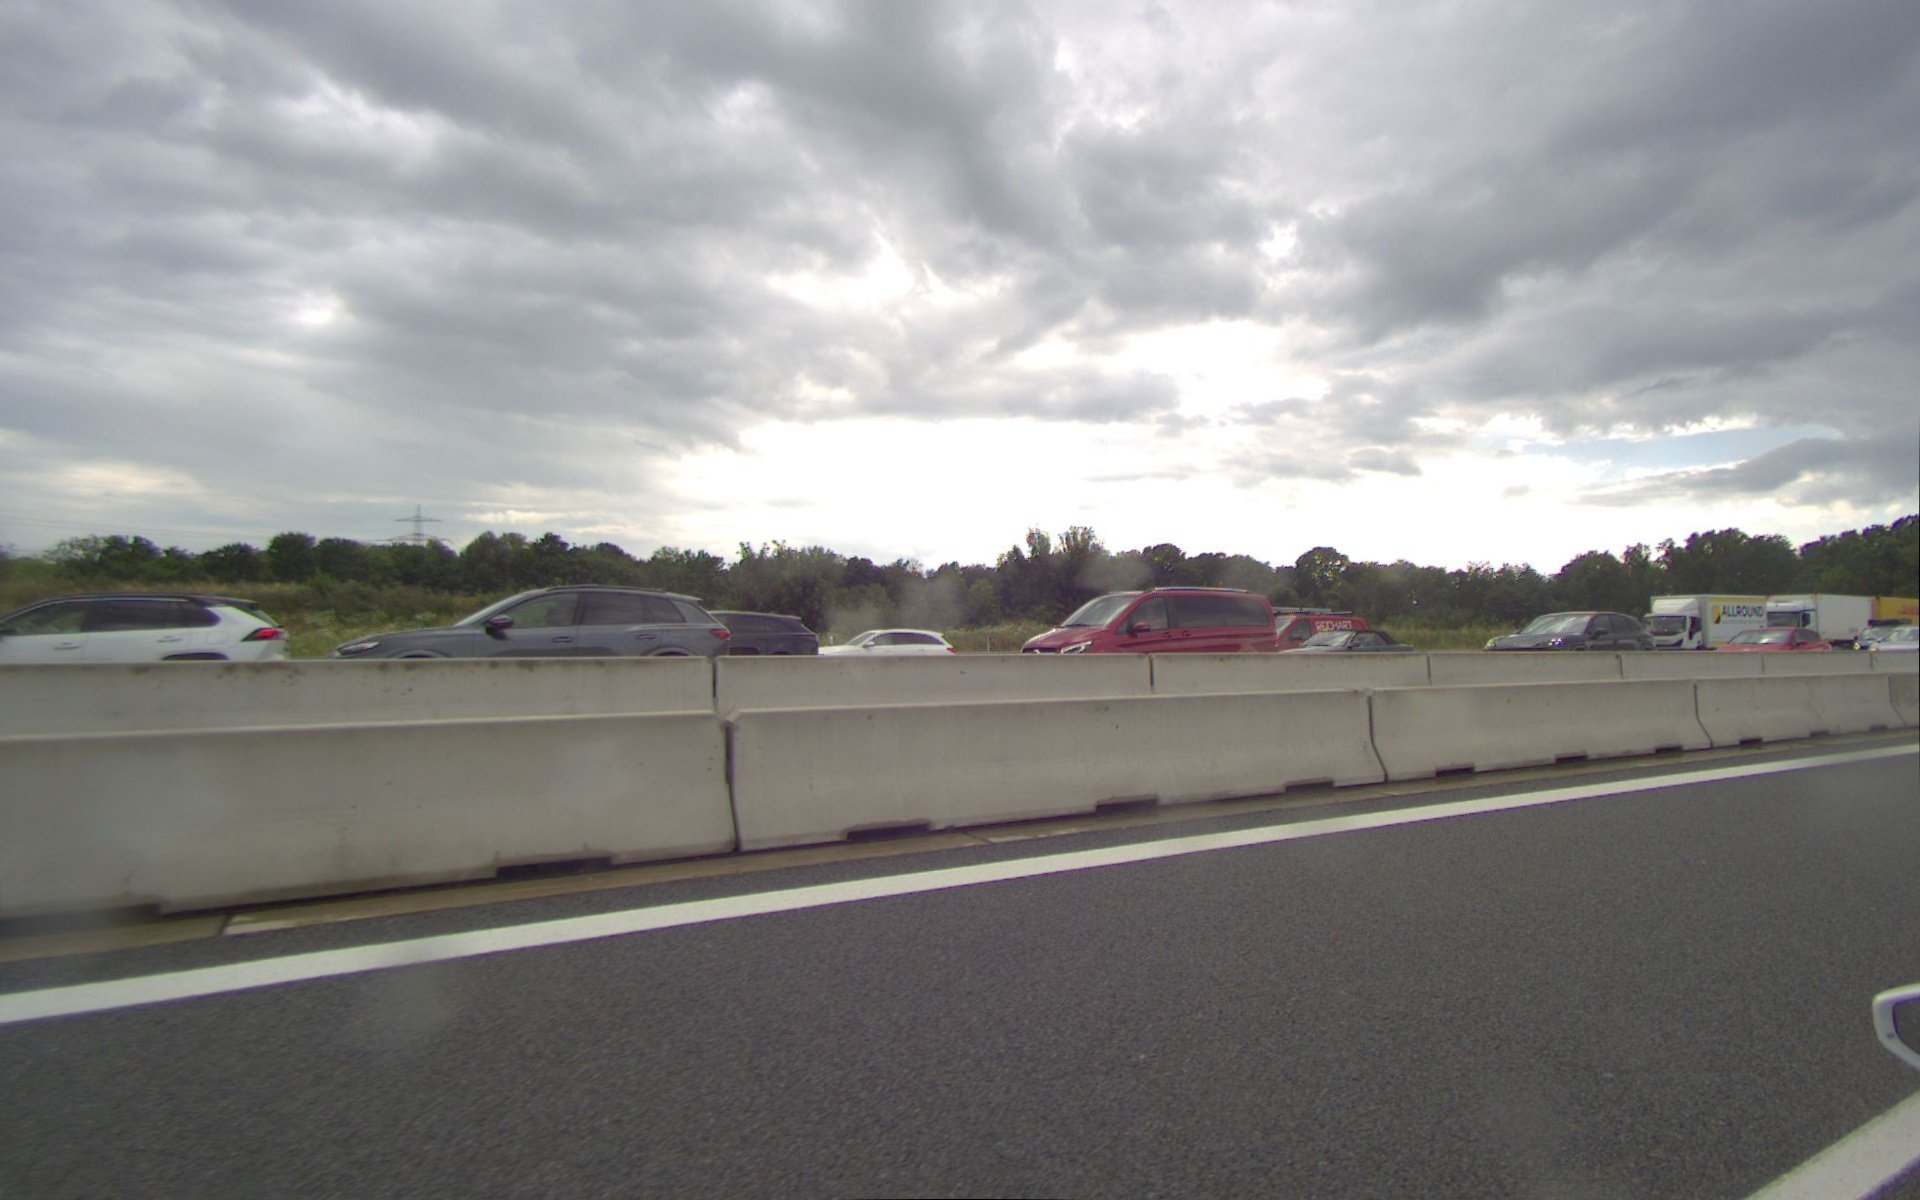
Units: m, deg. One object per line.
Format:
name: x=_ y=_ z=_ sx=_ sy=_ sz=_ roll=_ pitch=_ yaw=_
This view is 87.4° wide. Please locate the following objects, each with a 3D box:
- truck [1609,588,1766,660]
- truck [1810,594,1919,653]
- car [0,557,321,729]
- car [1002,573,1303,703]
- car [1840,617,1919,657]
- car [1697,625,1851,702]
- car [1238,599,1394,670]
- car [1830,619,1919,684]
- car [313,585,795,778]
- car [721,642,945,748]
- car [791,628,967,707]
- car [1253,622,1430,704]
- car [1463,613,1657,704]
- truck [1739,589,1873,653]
truck: x=36.400 y=1.212 z=50.152 sx=9.092 sy=3.334 sz=2.896 roll=1 pitch=0 yaw=-30
truck: x=59.698 y=1.535 z=65.884 sx=9.464 sy=3.660 sz=2.865 roll=1 pitch=0 yaw=-29
car: x=-11.302 y=0.519 z=13.055 sx=4.914 sy=2.040 sz=1.984 roll=1 pitch=0 yaw=-30
car: x=3.547 y=0.652 z=18.088 sx=5.355 sy=2.040 sz=1.984 roll=1 pitch=0 yaw=-30
car: x=49.317 y=1.952 z=53.682 sx=5.287 sy=2.040 sz=1.983 roll=1 pitch=0 yaw=-32
car: x=23.738 y=1.783 z=29.263 sx=4.632 sy=2.040 sz=1.984 roll=1 pitch=0 yaw=-30
car: x=10.906 y=1.025 z=30.687 sx=4.632 sy=2.040 sz=1.984 roll=1 pitch=0 yaw=-30
car: x=31.779 y=1.724 z=34.176 sx=4.372 sy=2.040 sz=1.984 roll=1 pitch=0 yaw=-30
car: x=-4.999 y=0.912 z=12.846 sx=5.355 sy=2.040 sz=1.984 roll=1 pitch=0 yaw=-30
car: x=-2.753 y=1.974 z=22.038 sx=4.446 sy=2.040 sz=1.984 roll=1 pitch=0 yaw=-30
car: x=-2.285 y=1.867 z=28.774 sx=4.632 sy=2.040 sz=1.984 roll=1 pitch=0 yaw=-30
car: x=9.968 y=1.584 z=26.157 sx=4.422 sy=1.925 sz=1.984 roll=1 pitch=0 yaw=-30
car: x=14.105 y=1.314 z=23.558 sx=4.450 sy=1.929 sz=1.984 roll=1 pitch=0 yaw=-30
truck: x=51.865 y=1.326 z=61.460 sx=10.187 sy=3.660 sz=2.865 roll=1 pitch=0 yaw=-29
